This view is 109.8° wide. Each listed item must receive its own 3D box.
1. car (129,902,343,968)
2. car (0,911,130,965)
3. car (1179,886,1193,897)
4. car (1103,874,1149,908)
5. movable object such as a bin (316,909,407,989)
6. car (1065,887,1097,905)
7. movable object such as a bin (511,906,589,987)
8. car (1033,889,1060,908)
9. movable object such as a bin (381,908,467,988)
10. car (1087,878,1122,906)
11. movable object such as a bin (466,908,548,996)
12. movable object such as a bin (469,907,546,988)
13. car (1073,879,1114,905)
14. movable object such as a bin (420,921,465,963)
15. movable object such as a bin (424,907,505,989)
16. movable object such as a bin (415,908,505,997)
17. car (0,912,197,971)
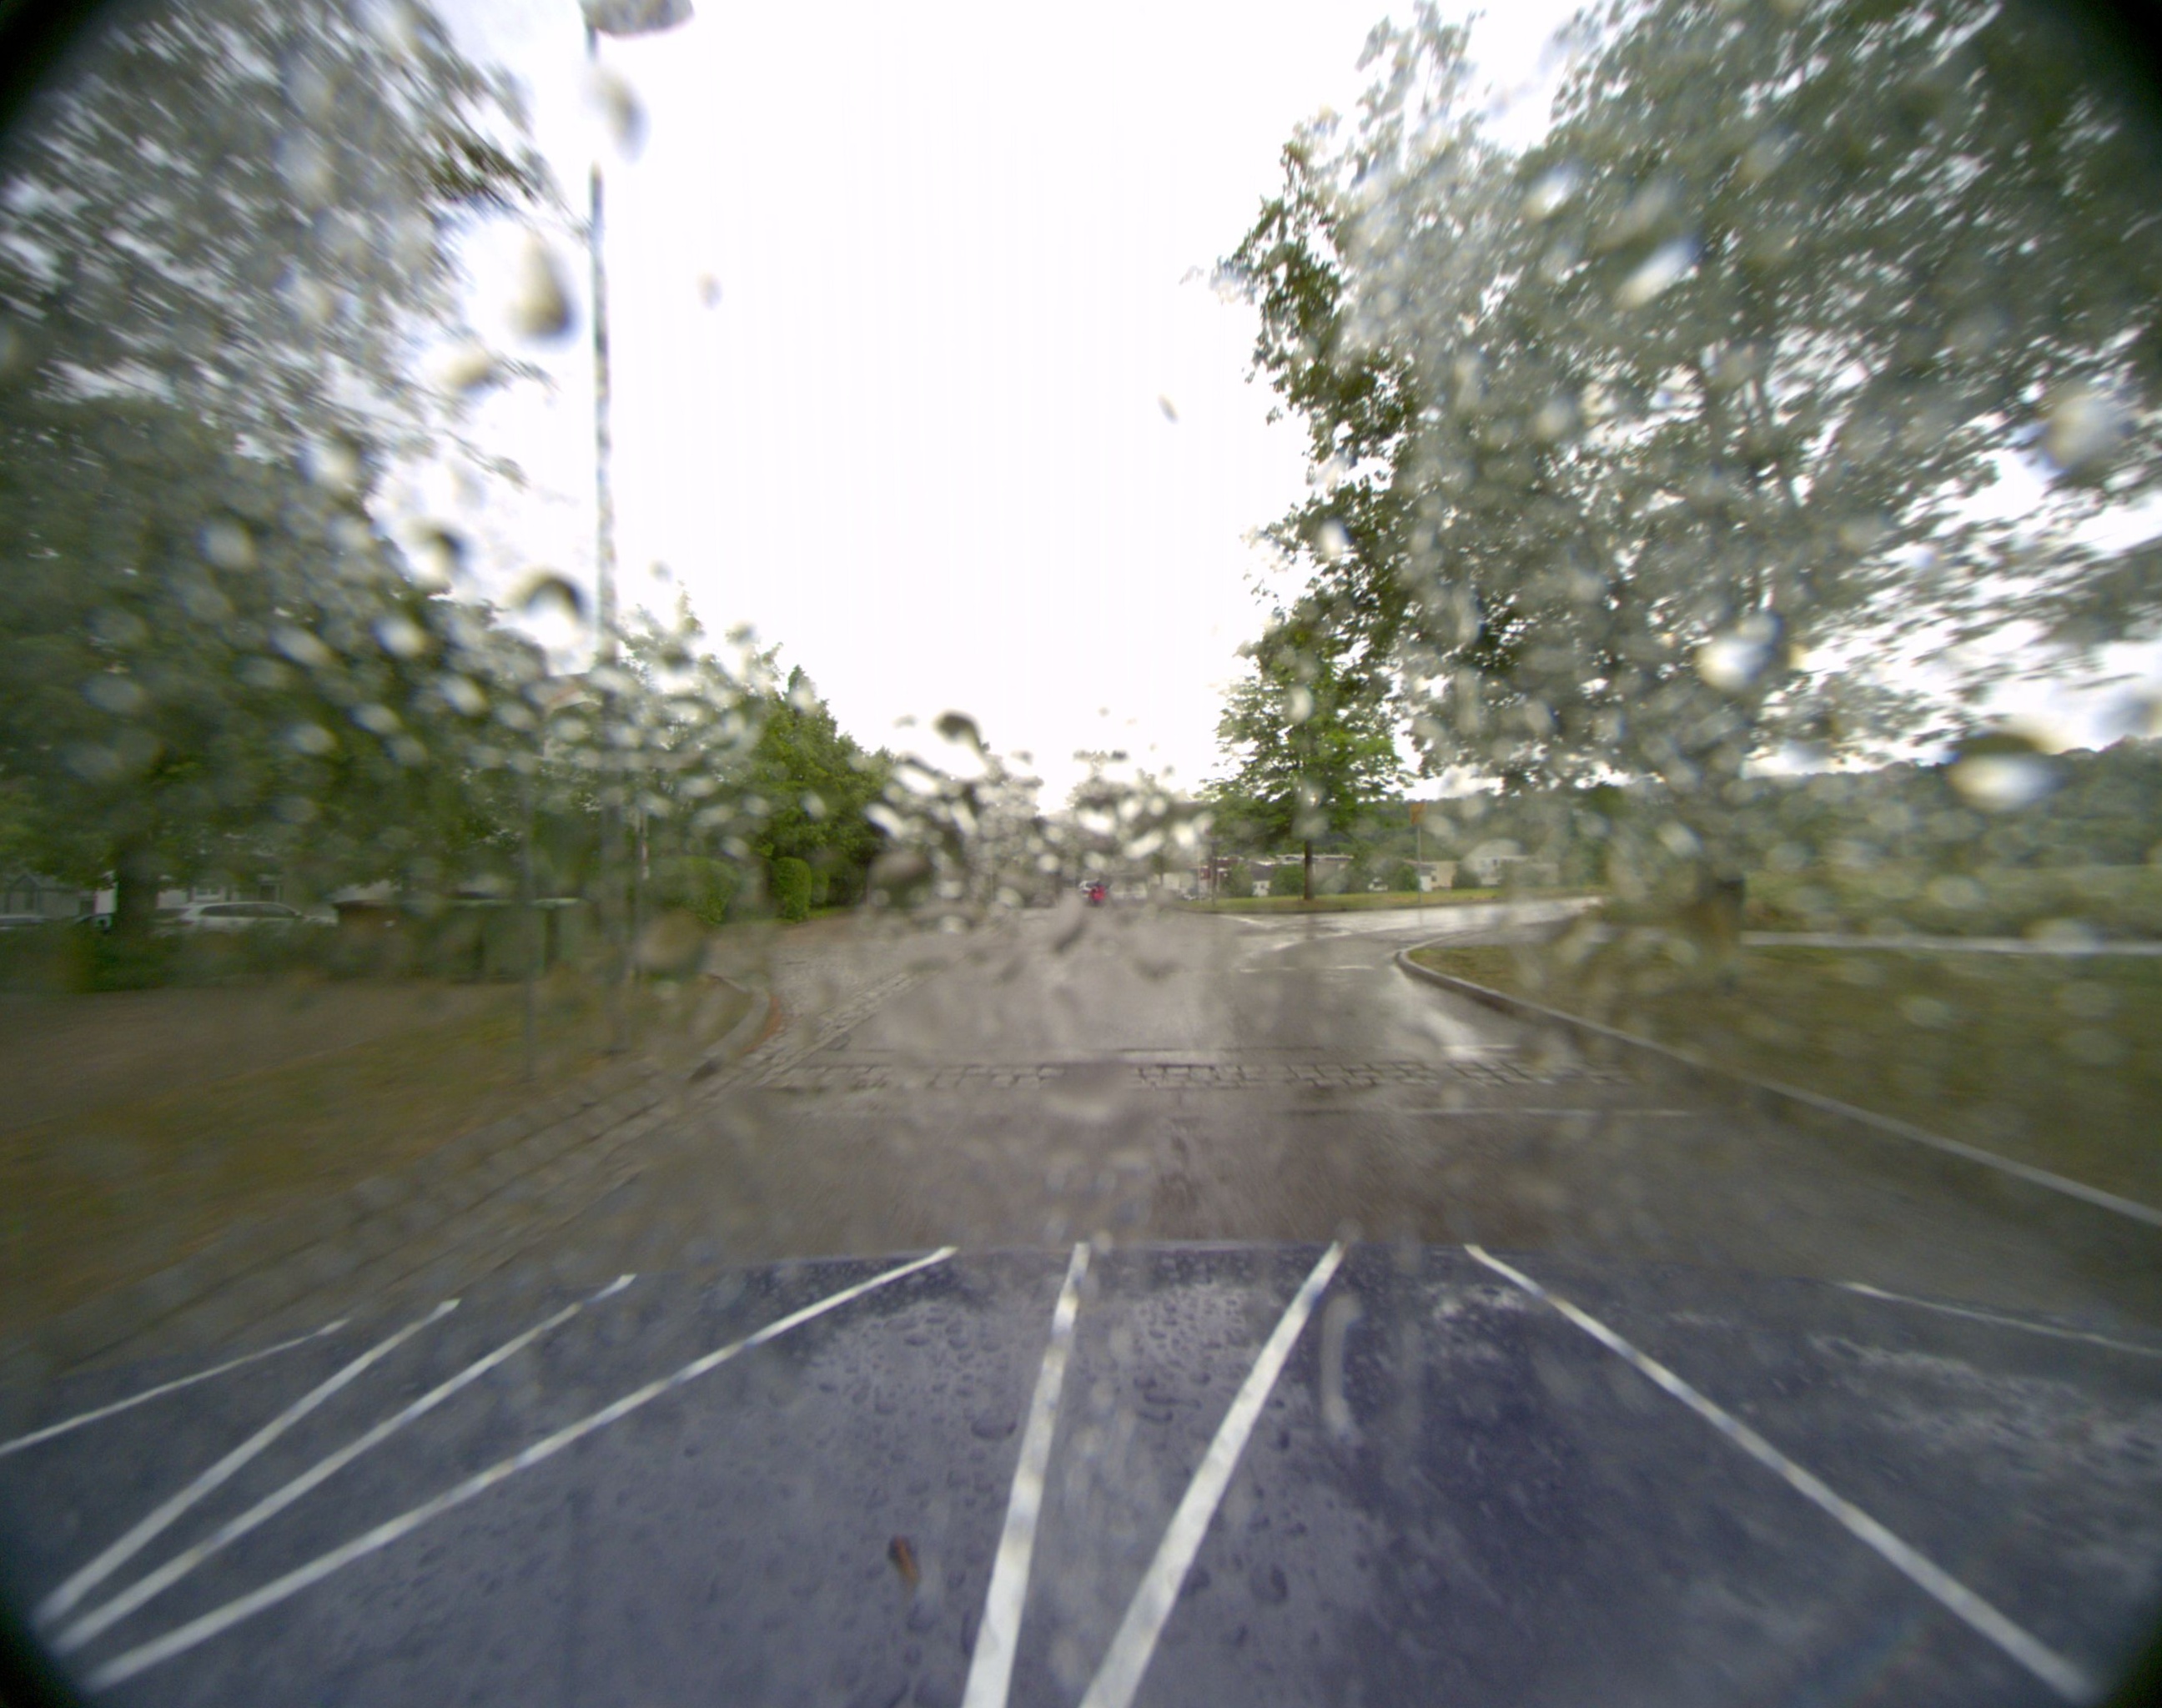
[{"bbox_3d":[-25.822,2.416,23.437,1.776,1.654,4.005,-2,-1,15],"label":"car"},{"bbox_3d":[-35.134,2.805,25.236,1.776,1.524,4.005,-2,-1,15],"label":"car"},{"bbox_3d":[29.877,10.718,216.687,2.141,3.205,5.084,-2,-2,-15],"label":"car"},{"bbox_3d":[2.061,1.703,35.463,1.679,1.470,3.554,-2,-2,-3],"label":"car"},{"bbox_3d":[-10.065,1.316,10.654,0.605,1.048,0.696,-1,-2,-1],"label":"movable object such as a bin"},{"bbox_3d":[-0.028,3.050,55.393,1.734,1.273,3.327,-1,-3,-10],"label":"car"},{"bbox_3d":[-7.429,1.278,10.648,0.602,1.068,0.696,-1,-2,-1],"label":"movable object such as a bin"},{"bbox_3d":[-3.307,4.267,72.647,1.962,1.596,4.000,-1,-5,-11],"label":"car"},{"bbox_3d":[-9.246,1.309,10.718,0.605,1.048,0.696,-1,-2,-1],"label":"movable object such as a bin"},{"bbox_3d":[1.258,2.109,41.877,1.553,1.427,3.012,-2,-3,-4],"label":"car"},{"bbox_3d":[-7.399,1.243,9.814,0.543,1.067,0.667,-1,-2,0],"label":"movable object such as a bin"},{"bbox_3d":[-8.022,1.290,10.649,0.543,1.068,0.696,-1,-2,-1],"label":"movable object such as a bin"},{"bbox_3d":[0.721,2.396,47.262,1.852,1.542,3.989,-1,-3,-9],"label":"car"},{"bbox_3d":[-14.749,2.024,17.559,0.529,0.925,0.573,-3,-3,12],"label":"movable object such as a bin"},{"bbox_3d":[-8.622,1.298,10.648,0.578,1.060,0.696,-1,-2,-1],"label":"movable object such as a bin"},{"bbox_3d":[-8.038,1.260,9.861,0.597,1.066,0.696,-1,-2,-1],"label":"movable object such as a bin"},{"bbox_3d":[-32.513,2.826,25.030,1.776,1.519,4.005,-2,-1,15],"label":"car"}]
